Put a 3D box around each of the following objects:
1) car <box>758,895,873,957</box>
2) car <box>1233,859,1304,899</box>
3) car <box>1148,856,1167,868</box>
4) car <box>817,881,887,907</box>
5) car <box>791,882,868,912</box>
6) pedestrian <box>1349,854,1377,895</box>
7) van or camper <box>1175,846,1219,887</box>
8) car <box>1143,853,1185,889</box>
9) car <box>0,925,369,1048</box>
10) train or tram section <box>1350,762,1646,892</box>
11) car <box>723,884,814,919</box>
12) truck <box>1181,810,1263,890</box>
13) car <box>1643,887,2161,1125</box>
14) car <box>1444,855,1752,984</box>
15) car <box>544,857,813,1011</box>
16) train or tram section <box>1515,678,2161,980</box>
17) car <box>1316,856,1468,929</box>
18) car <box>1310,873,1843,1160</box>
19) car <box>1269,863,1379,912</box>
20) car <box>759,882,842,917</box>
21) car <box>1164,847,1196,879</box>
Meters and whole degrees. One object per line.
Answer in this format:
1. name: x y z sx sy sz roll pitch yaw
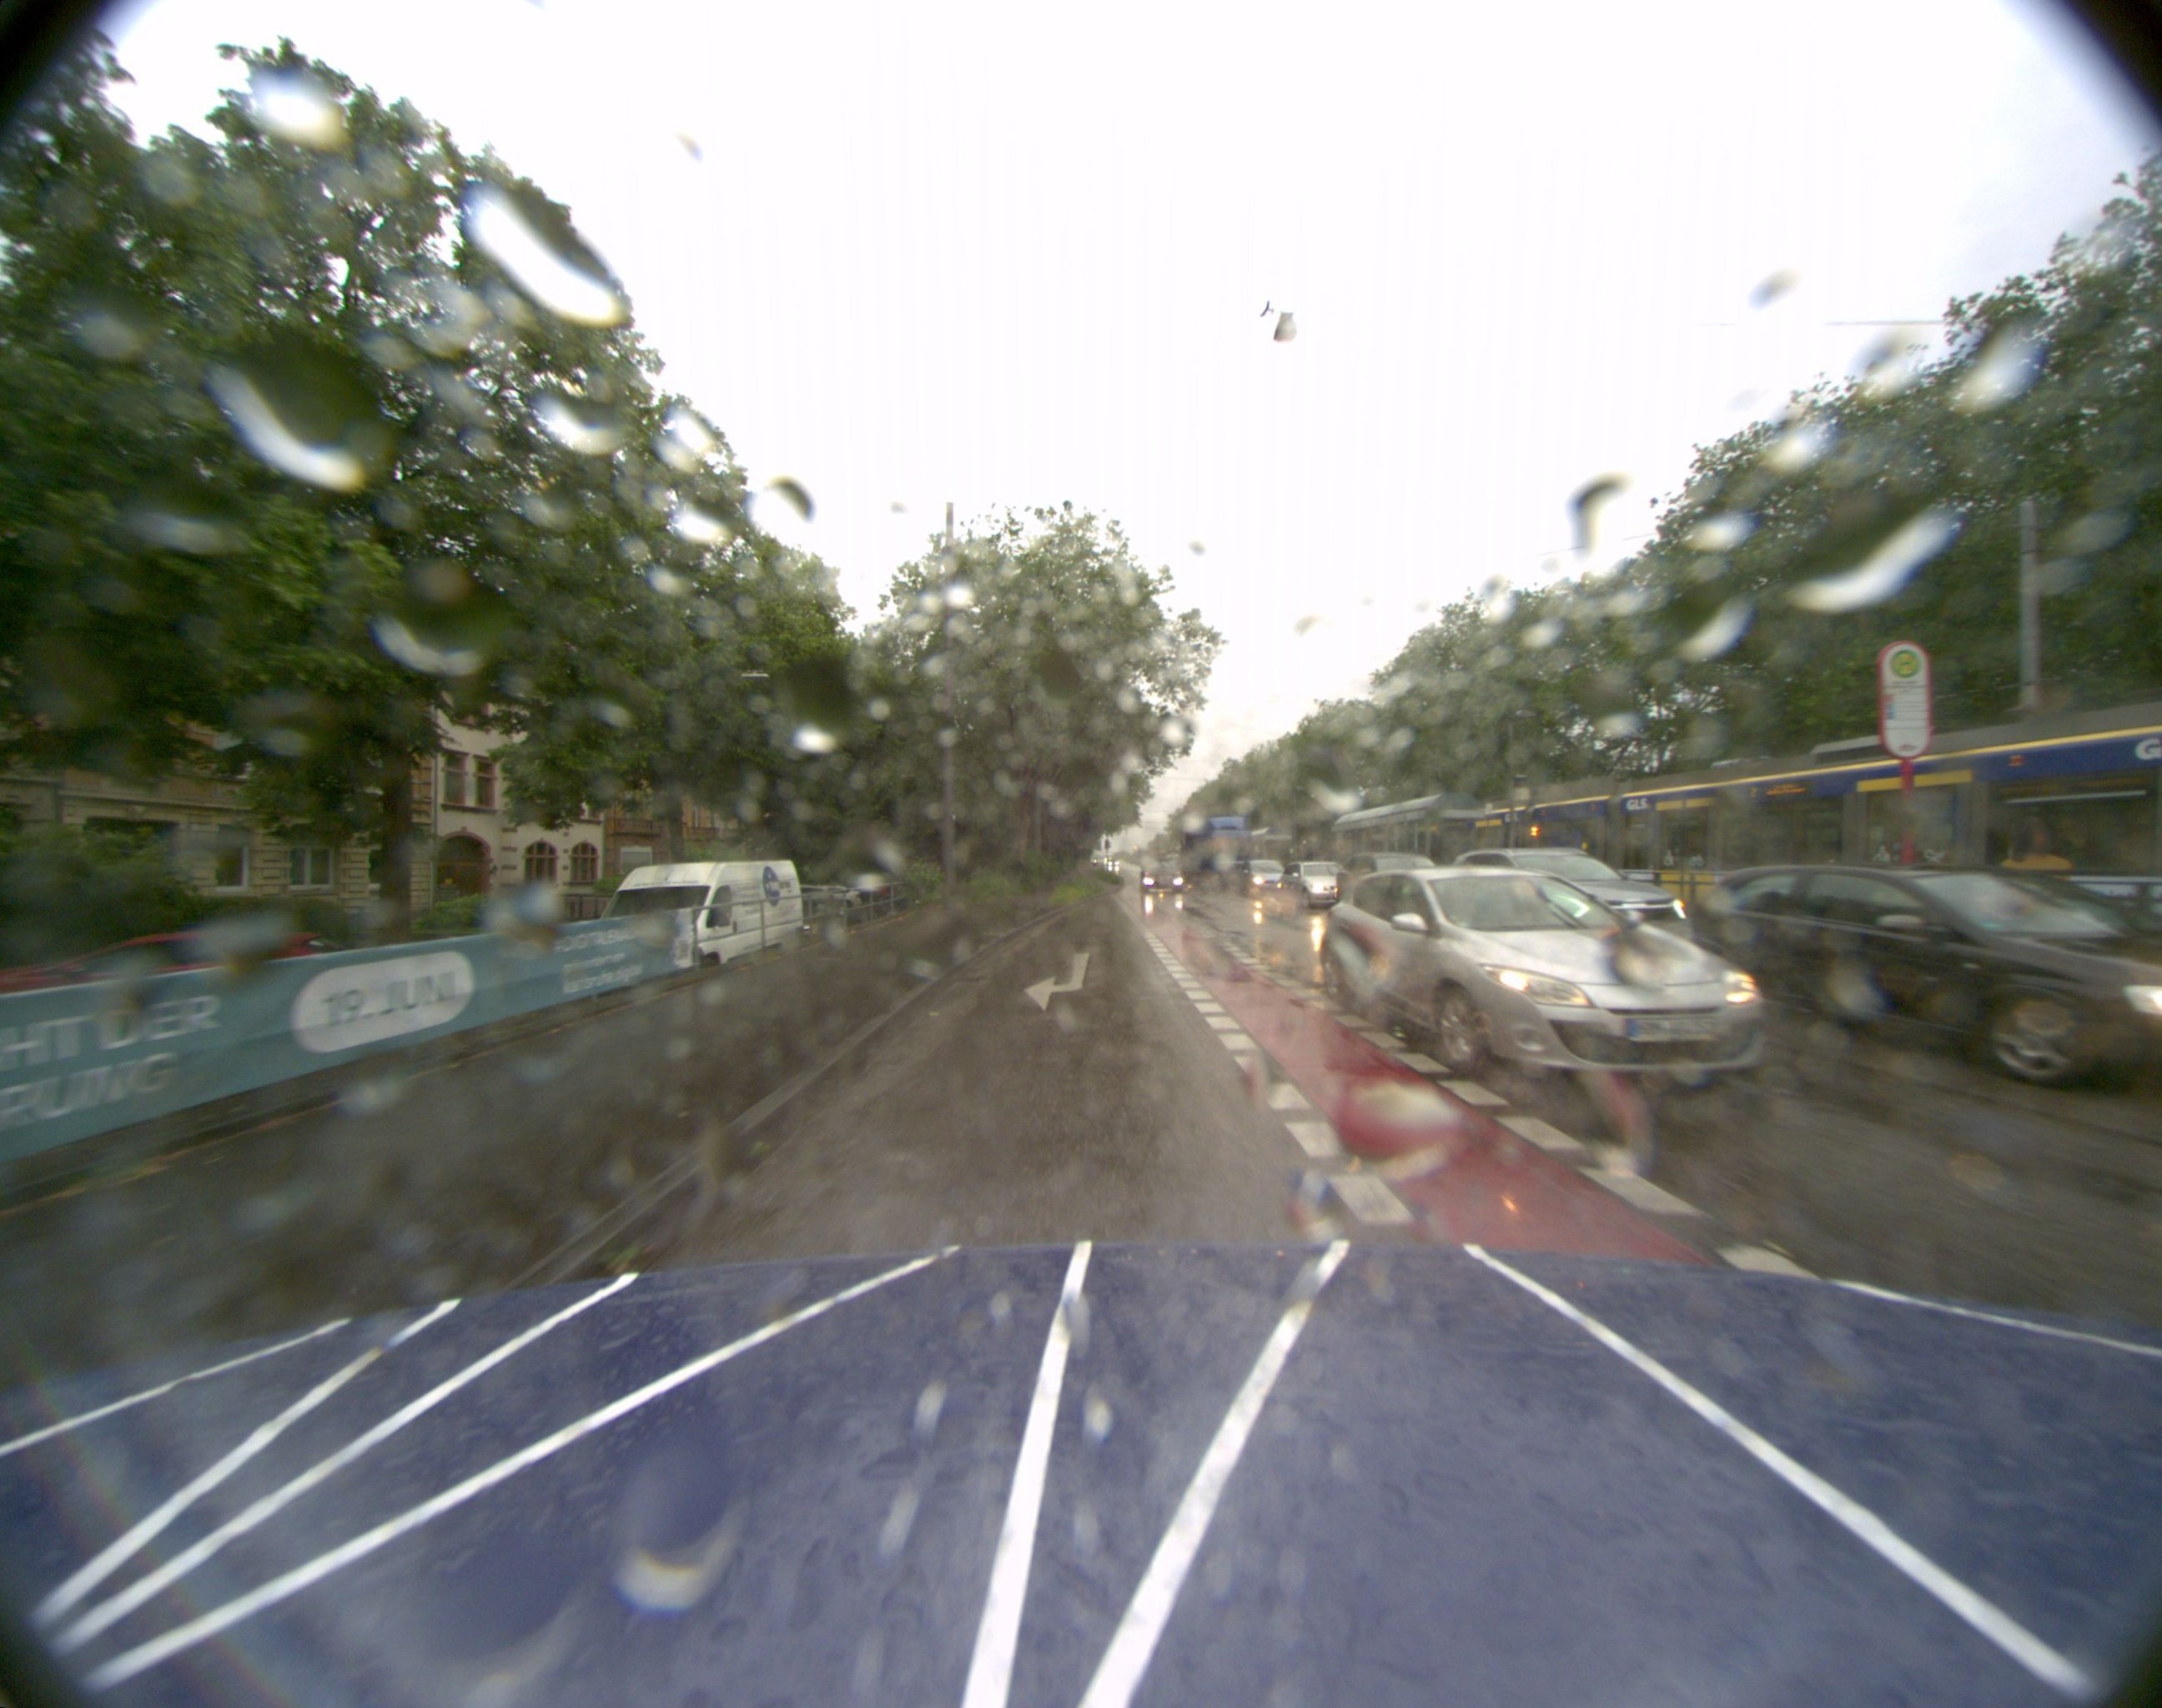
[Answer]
1. car: -7.716 2.044 22.551 1.972 1.345 4.383 -3 0 -2
2. car: 7.727 0.985 31.676 1.894 1.478 4.077 -1 0 -1
3. car: 7.751 0.807 77.262 1.467 1.185 3.615 -2 0 0
4. car: -15.286 2.653 50.737 4.007 1.455 1.908 -2 0 -34
5. car: -15.088 2.545 45.624 4.007 1.556 1.995 -2 0 -34
6. pedestrian: 10.001 0.710 26.969 0.634 1.410 0.750 -3 0 0
7. van or camper: 7.895 0.813 52.376 1.998 2.555 6.431 -3 0 1
8. car: 4.067 0.793 37.634 1.756 1.656 3.678 -2 0 2
9. car: -14.566 2.011 12.075 4.439 1.444 1.894 0 -1 -31
10. train or tram section: 14.104 -0.753 28.127 3.521 3.491 13.660 -3 0 1
11. car: -15.856 2.365 38.614 4.006 1.455 1.995 -2 0 -30
12. truck: 7.462 -0.198 41.741 2.545 3.866 9.811 1 0 -1
13. car: 6.712 0.925 6.029 1.467 1.111 4.087 -2 0 0
14. car: 7.615 0.836 11.866 1.919 1.614 4.455 0 0 2
15. car: -7.657 1.320 15.496 2.214 2.406 6.158 -3 0 -1
16. train or tram section: 13.966 -0.348 13.615 3.549 3.393 15.504 -3 0 1
17. car: 7.618 0.856 19.140 1.999 1.611 4.320 -1 0 -1
18. car: 3.392 0.962 6.274 1.772 1.469 4.001 -2 0 0
19. car: 7.626 0.996 24.320 1.999 1.386 4.606 0 0 -1
20. car: -15.518 2.477 42.046 4.006 1.599 1.821 -2 0 -30
21. car: 7.938 0.686 61.342 1.998 2.412 5.728 -3 0 3
